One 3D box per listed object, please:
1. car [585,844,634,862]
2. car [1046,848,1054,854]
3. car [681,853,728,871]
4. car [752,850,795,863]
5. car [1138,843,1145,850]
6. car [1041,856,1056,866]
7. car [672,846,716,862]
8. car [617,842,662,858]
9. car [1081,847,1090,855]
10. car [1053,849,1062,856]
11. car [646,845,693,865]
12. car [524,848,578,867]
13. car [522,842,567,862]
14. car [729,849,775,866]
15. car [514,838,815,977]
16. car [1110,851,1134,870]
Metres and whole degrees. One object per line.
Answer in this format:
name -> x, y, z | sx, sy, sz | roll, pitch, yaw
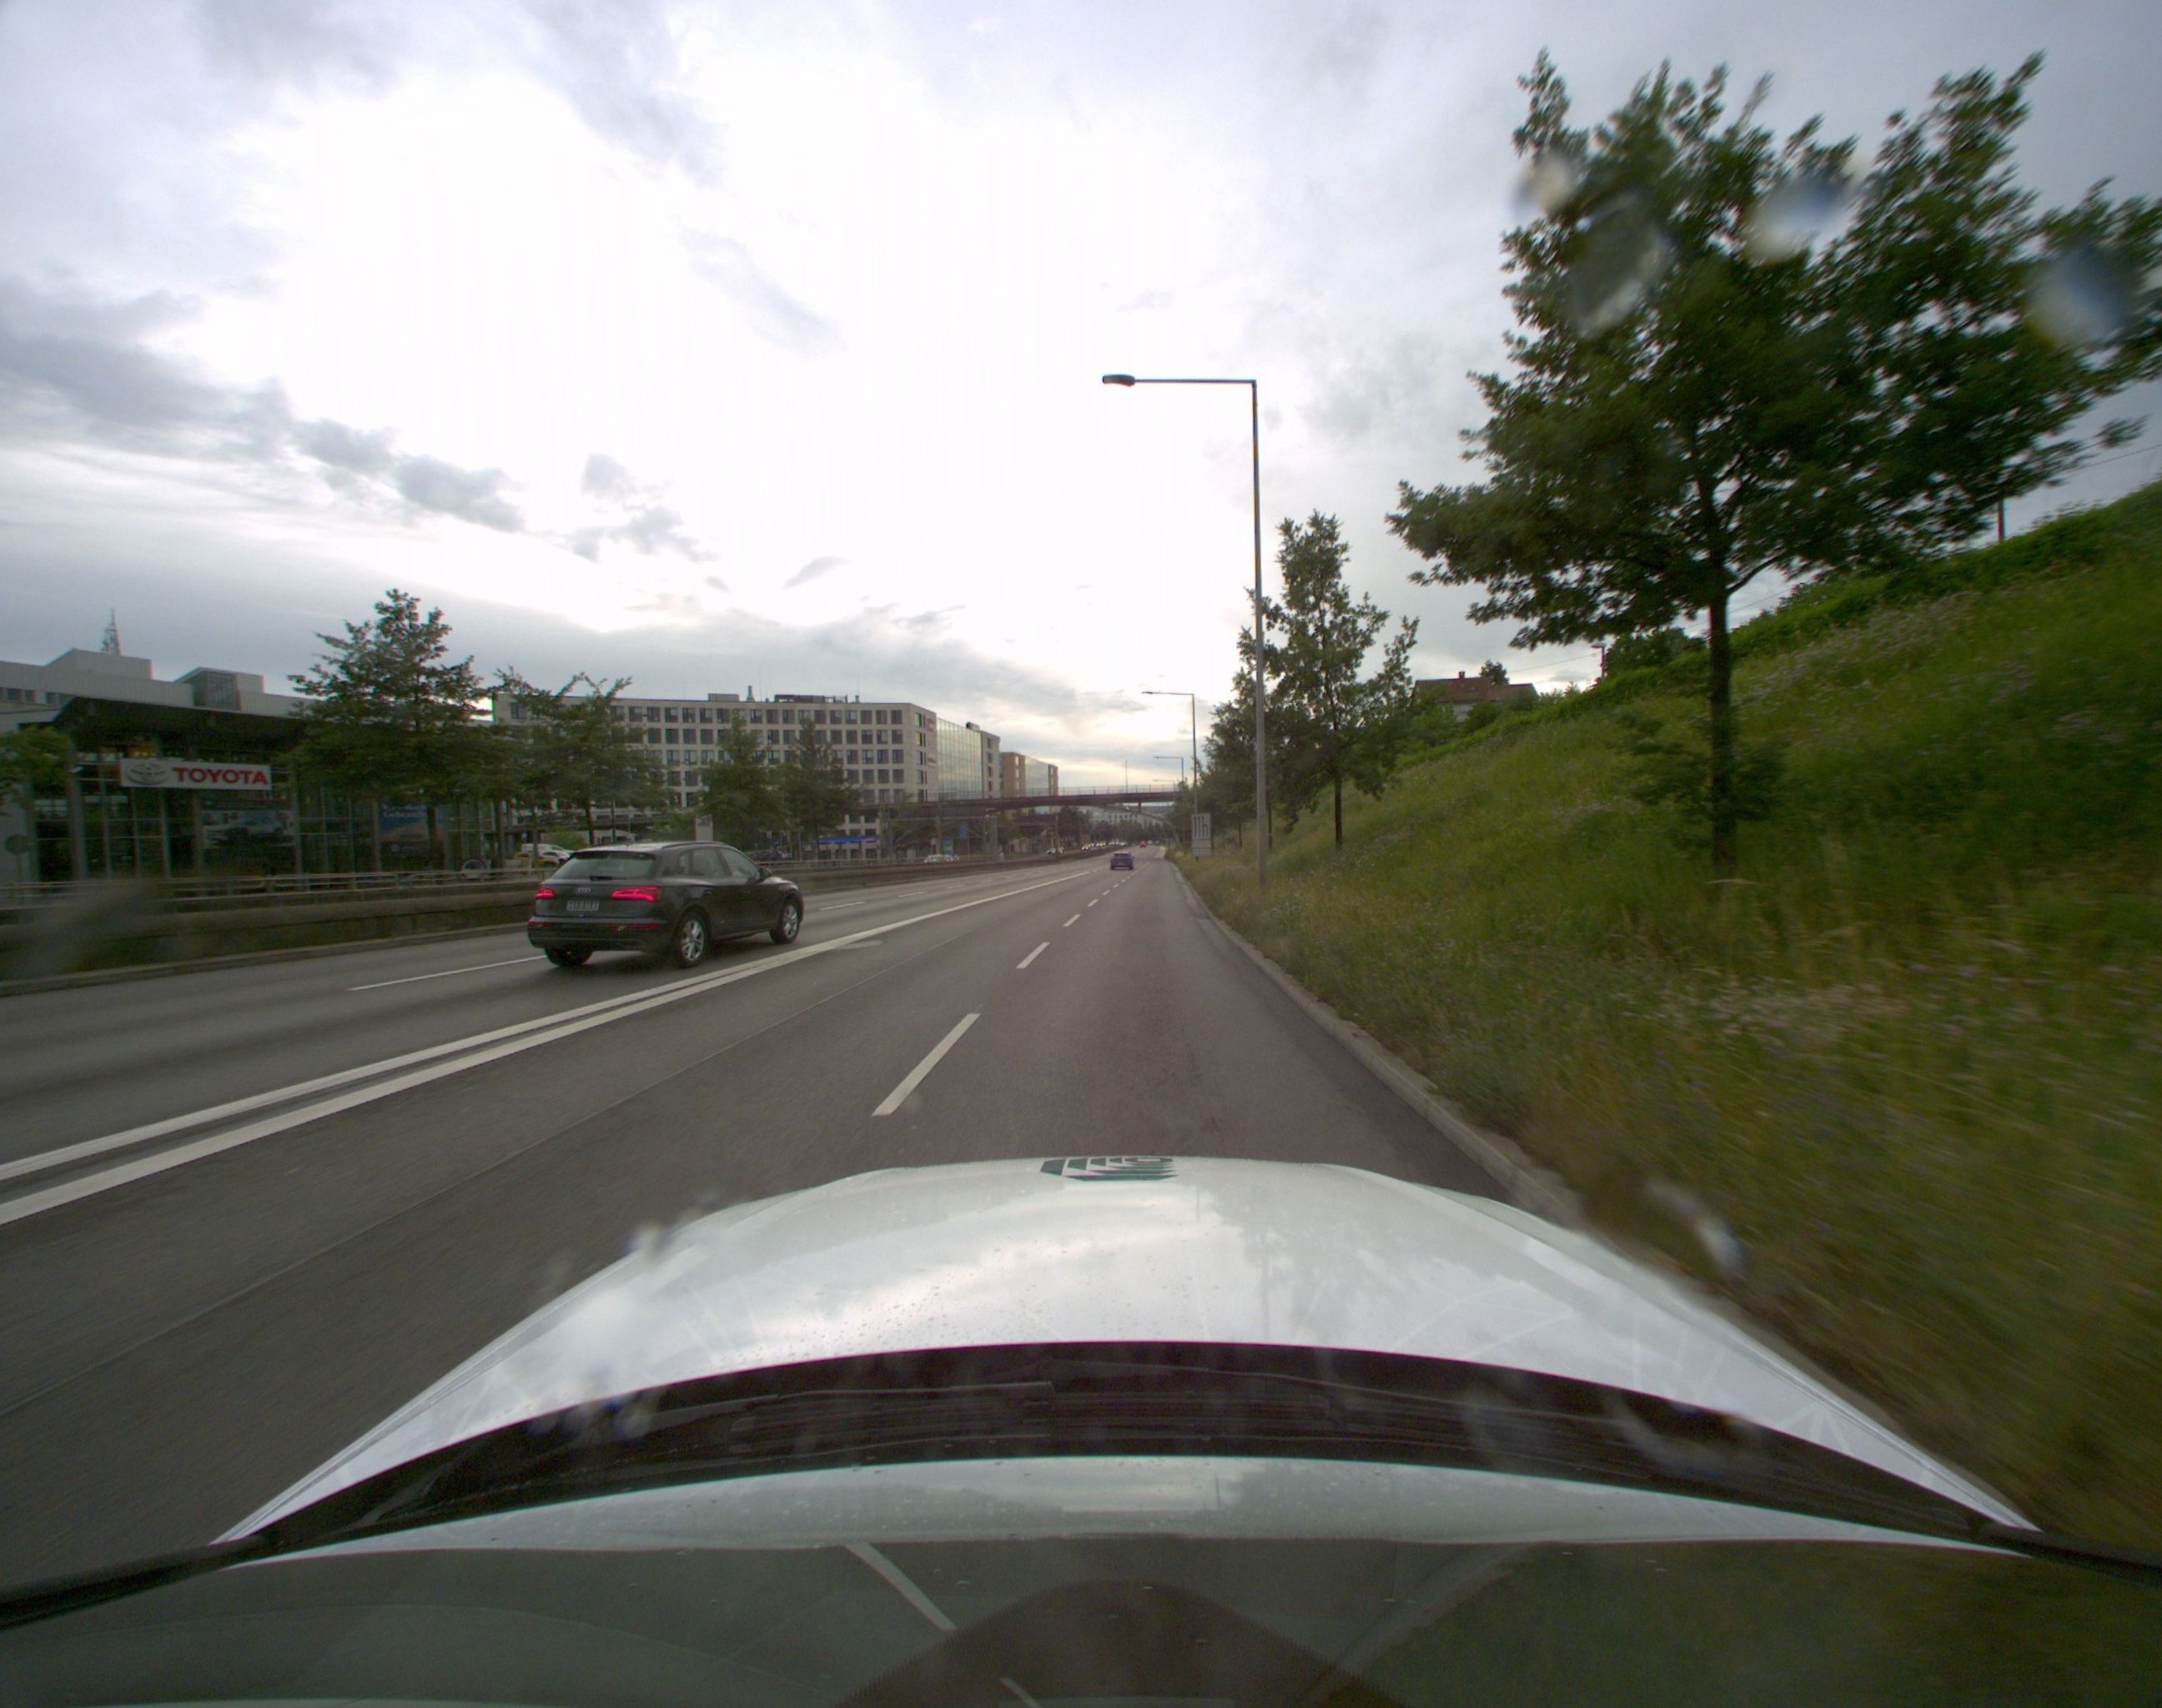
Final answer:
car -> -49.280, -0.121, 85.152 | 3.970, 1.650, 2.003 | 1, 3, 3
car -> -7.228, -0.686, 189.330 | 1.510, 1.420, 3.484 | -1, 1, 6
car -> -35.673, 0.758, 77.329 | 4.005, 1.651, 1.984 | 1, 1, -24
car -> -33.867, 0.294, 89.789 | 3.965, 1.354, 1.854 | 1, 1, 7
car -> 18.627, -2.307, 251.309 | 1.855, 1.749, 4.004 | 1, 3, 2
car -> -4.853, 0.985, 121.029 | 1.740, 1.420, 3.483 | 2, 0, 6
car -> -43.291, 0.023, 91.137 | 3.962, 1.650, 2.007 | 1, 3, 10
car -> -49.521, -0.494, 91.356 | 3.971, 1.650, 1.823 | 1, 3, 2
car -> 1.198, -0.879, 223.212 | 1.984, 2.013, 4.006 | 1, 3, 4
car -> -5.172, -0.329, 177.632 | 1.510, 1.420, 3.484 | -1, 1, 6
car -> -43.269, 0.097, 85.718 | 3.962, 1.875, 2.007 | 1, 3, 10
car -> -49.624, 0.295, 76.271 | 3.962, 1.650, 2.007 | 1, 3, 10
car -> -58.719, -0.270, 89.243 | 4.014, 2.048, 1.980 | -1, 3, -33
car -> -34.312, 0.388, 84.968 | 3.965, 1.651, 2.004 | 1, 1, 7
car -> -5.686, 0.634, 11.958 | 1.743, 1.617, 4.752 | -1, 0, 3
car -> 3.393, 0.512, 66.746 | 1.740, 1.420, 3.484 | -1, 0, 6
